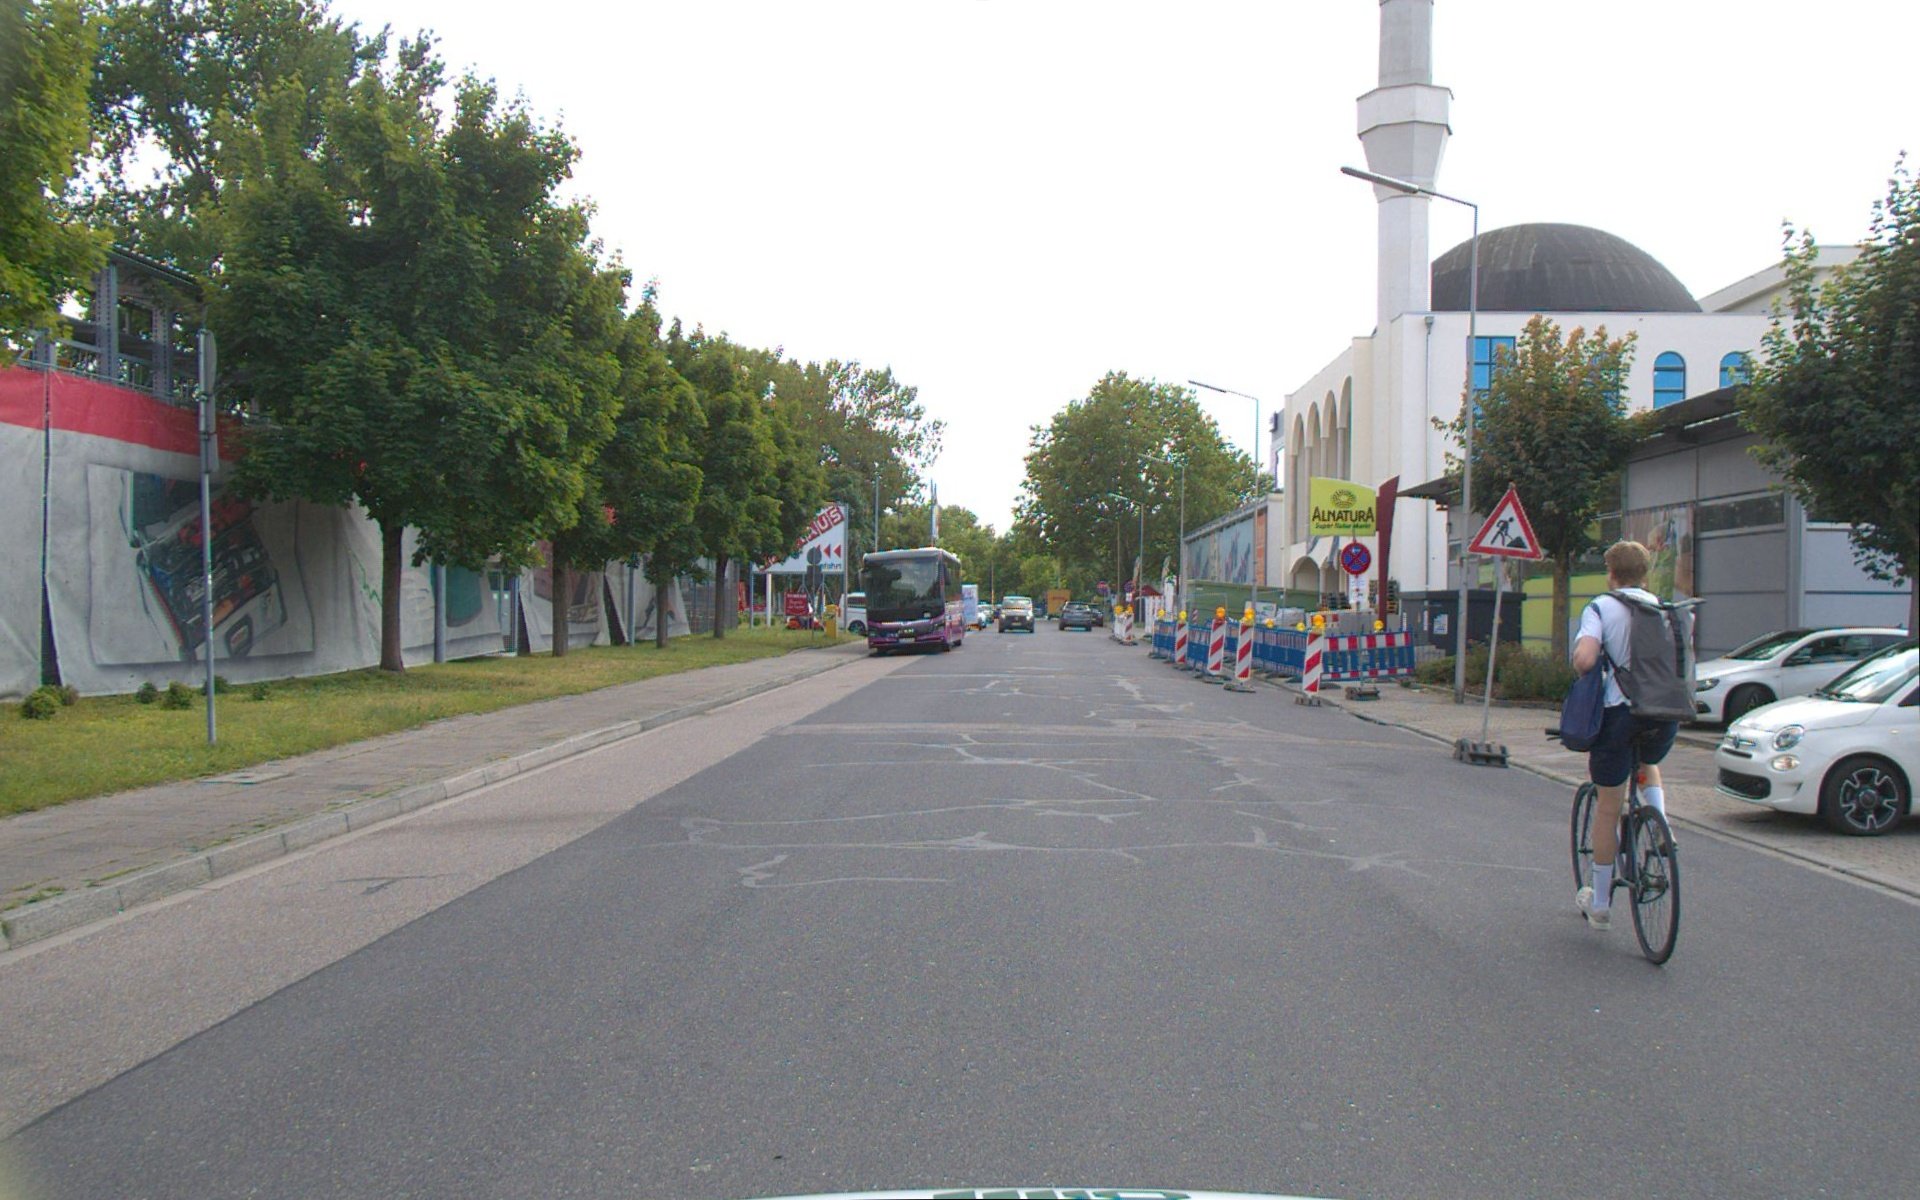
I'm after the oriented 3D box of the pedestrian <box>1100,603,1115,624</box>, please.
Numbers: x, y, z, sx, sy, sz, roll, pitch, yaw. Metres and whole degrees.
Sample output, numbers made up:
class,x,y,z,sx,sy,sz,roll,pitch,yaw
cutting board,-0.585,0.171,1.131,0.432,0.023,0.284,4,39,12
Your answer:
class,x,y,z,sx,sy,sz,roll,pitch,yaw
pedestrian,13.268,1.203,149.064,0.984,1.882,1.224,1,-1,-15

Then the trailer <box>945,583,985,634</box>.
class,x,y,z,sx,sy,sz,roll,pitch,yaw
trailer,0.326,0.490,97.135,2.095,2.832,4.704,-2,0,2

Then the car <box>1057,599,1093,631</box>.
class,x,y,z,sx,sy,sz,roll,pitch,yaw
car,6.821,0.899,98.726,1.921,1.847,4.276,1,0,1

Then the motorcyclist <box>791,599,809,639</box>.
class,x,y,z,sx,sy,sz,roll,pitch,yaw
motorcyclist,-7.151,0.850,74.131,0.660,1.753,0.995,0,0,3

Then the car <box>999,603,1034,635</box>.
class,x,y,z,sx,sy,sz,roll,pitch,yaw
car,3.002,0.990,88.078,1.829,1.658,4.128,0,0,2

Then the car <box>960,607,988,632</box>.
class,x,y,z,sx,sy,sz,roll,pitch,yaw
car,0.941,1.251,107.853,1.729,1.505,4.236,-2,0,2

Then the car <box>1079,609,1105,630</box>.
class,x,y,z,sx,sy,sz,roll,pitch,yaw
car,9.742,1.393,122.309,1.770,1.415,4.590,3,0,4

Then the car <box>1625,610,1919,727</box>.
class,x,y,z,sx,sy,sz,roll,pitch,yaw
car,11.607,0.909,22.873,4.019,1.489,1.990,-1,0,-1

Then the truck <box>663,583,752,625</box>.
class,x,y,z,sx,sy,sz,roll,pitch,yaw
truck,-16.614,0.279,108.988,5.431,2.639,1.780,1,-2,3

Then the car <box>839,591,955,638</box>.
class,x,y,z,sx,sy,sz,roll,pitch,yaw
car,-2.779,0.625,73.555,4.894,1.983,1.994,1,0,8

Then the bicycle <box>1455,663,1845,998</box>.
class,x,y,z,sx,sy,sz,roll,pitch,yaw
bicycle,3.090,0.949,7.777,0.781,1.201,2.627,2,-1,2

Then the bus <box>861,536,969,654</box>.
class,x,y,z,sx,sy,sz,roll,pitch,yaw
bus,-1.347,-0.124,57.231,2.608,3.482,13.222,-3,0,3

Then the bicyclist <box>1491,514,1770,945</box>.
class,x,y,z,sx,sy,sz,roll,pitch,yaw
bicyclist,3.091,0.565,7.751,0.790,1.824,1.207,2,-1,2

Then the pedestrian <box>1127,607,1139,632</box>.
class,x,y,z,sx,sy,sz,roll,pitch,yaw
pedestrian,11.013,1.239,105.407,0.667,1.560,1.130,1,-1,3

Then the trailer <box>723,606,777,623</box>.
class,x,y,z,sx,sy,sz,roll,pitch,yaw
trailer,-15.926,1.078,125.657,3.735,1.211,1.716,1,0,9

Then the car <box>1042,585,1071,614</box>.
class,x,y,z,sx,sy,sz,roll,pitch,yaw
car,9.105,-0.061,156.364,2.154,2.623,6.403,0,0,-1

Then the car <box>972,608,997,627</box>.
class,x,y,z,sx,sy,sz,roll,pitch,yaw
car,1.998,1.397,132.687,1.673,1.445,4.333,-2,0,4

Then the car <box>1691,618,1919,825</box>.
class,x,y,z,sx,sy,sz,roll,pitch,yaw
car,7.849,0.899,12.946,3.524,1.495,1.690,-1,0,6

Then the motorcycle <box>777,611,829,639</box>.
class,x,y,z,sx,sy,sz,roll,pitch,yaw
motorcycle,-7.038,1.111,74.117,2.174,1.235,0.995,0,0,3
